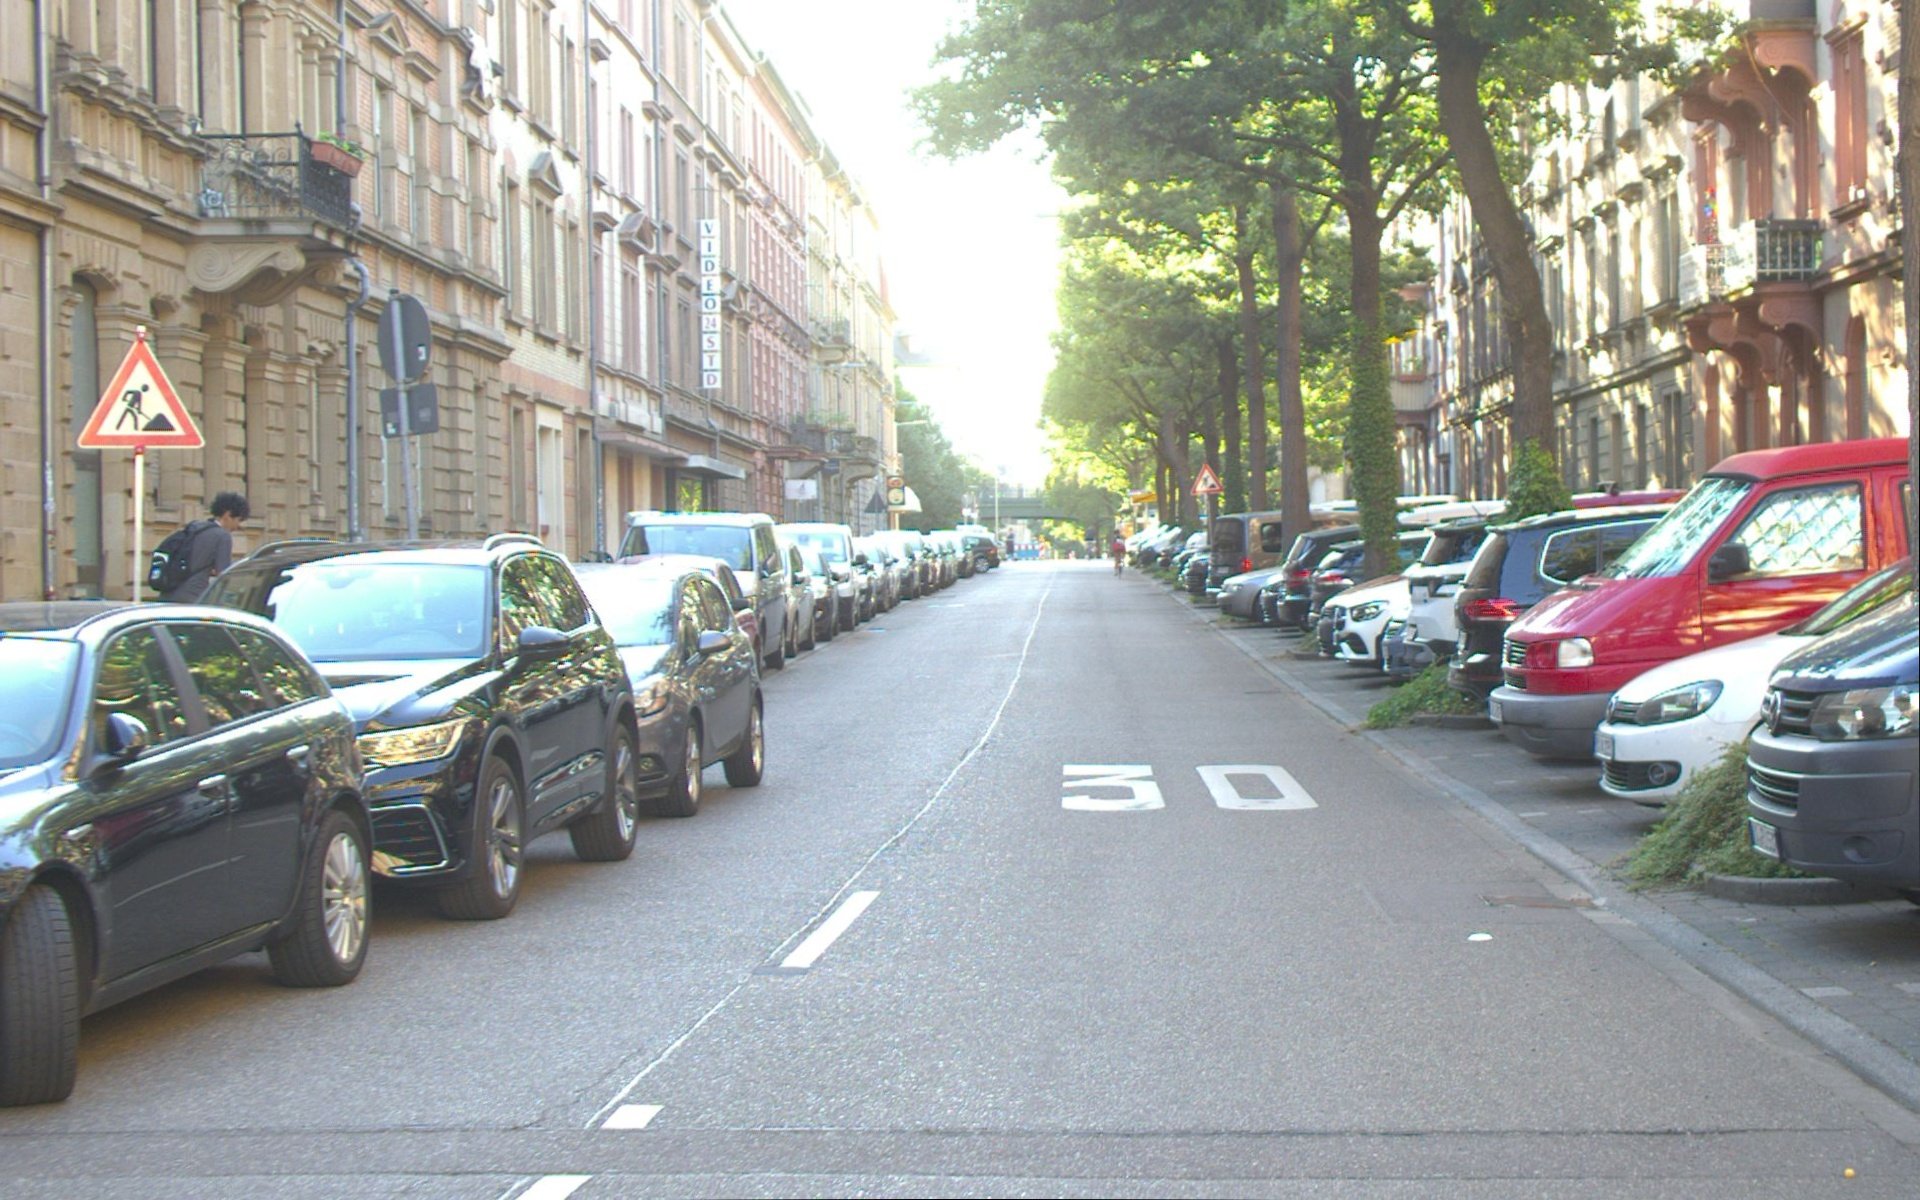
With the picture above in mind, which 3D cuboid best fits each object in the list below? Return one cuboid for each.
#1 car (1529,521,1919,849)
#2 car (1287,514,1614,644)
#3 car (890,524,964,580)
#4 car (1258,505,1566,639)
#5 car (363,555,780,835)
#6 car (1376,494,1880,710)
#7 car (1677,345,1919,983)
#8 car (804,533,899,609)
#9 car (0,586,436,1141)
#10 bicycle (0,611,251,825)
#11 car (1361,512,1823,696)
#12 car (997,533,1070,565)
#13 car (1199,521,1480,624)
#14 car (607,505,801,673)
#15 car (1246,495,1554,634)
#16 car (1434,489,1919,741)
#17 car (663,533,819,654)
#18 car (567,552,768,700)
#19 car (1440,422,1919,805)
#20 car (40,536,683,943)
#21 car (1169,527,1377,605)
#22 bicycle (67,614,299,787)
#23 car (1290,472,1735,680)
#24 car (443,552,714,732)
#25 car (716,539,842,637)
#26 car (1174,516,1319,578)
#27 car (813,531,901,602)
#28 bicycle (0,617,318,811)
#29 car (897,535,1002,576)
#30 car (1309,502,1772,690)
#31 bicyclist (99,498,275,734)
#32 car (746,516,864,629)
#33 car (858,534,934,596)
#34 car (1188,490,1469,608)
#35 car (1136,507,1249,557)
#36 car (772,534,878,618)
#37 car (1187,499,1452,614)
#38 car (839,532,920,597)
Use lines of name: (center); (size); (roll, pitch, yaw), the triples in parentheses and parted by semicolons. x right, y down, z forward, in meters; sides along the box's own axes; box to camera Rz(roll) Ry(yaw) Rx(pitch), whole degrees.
car: (5.116, 0.340, 17.607); (4.054, 1.505, 1.879); (-3, 1, 2)
car: (6.397, -0.284, 45.167); (4.010, 1.462, 1.734); (-3, 0, 2)
car: (-0.926, -1.371, 99.461); (1.993, 1.481, 4.000); (-2, -1, 1)
car: (6.240, -0.390, 47.759); (4.010, 1.601, 1.734); (-3, 0, 2)
car: (-2.308, 0.515, 21.473); (1.759, 1.496, 4.059); (-2, 1, 5)
car: (5.804, 0.007, 30.223); (4.010, 1.622, 1.805); (-3, 0, 1)
car: (5.414, 0.170, 12.888); (5.021, 2.207, 1.993); (-1, 1, 1)
car: (-2.209, -0.617, 70.898); (1.758, 1.468, 4.059); (-2, 1, 0)
car: (-3.228, 0.730, 11.228); (1.759, 1.447, 4.549); (-2, 1, 7)
bicycle: (-4.801, 0.624, 18.473); (1.867, 1.124, 0.528); (0, 0, 2)
car: (5.941, 0.026, 32.673); (4.010, 1.429, 1.794); (-4, 0, 2)
car: (4.226, -2.948, 198.444); (3.988, 1.853, 1.750); (0, 1, 10)
car: (6.093, -0.450, 55.500); (4.220, 1.398, 1.835); (-3, 1, -3)
car: (-3.095, -0.186, 42.565); (1.832, 1.936, 5.260); (0, 1, 2)
car: (6.408, -0.533, 50.401); (4.221, 1.770, 1.835); (-3, 1, 1)
car: (5.691, 0.076, 25.371); (4.187, 1.622, 1.837); (-3, 0, 5)
car: (-3.028, -0.135, 48.366); (1.753, 1.603, 4.384); (0, 1, 2)
car: (-3.086, 0.237, 36.864); (1.593, 1.470, 3.699); (1, 1, 4)
car: (5.371, 0.005, 20.348); (4.674, 2.026, 1.879); (-3, 0, -1)
car: (-2.637, 0.535, 16.321); (1.759, 1.594, 4.549); (-2, 1, 6)
car: (6.144, -0.677, 67.740); (3.850, 1.289, 1.718); (-3, 1, -1)
bicycle: (-6.104, 0.760, 27.225); (0.996, 1.154, 2.923); (-2, 2, 3)
car: (5.988, -0.293, 37.605); (4.443, 1.917, 1.850); (-4, 2, 0)
car: (-3.509, 0.345, 32.310); (1.759, 1.496, 4.059); (-2, 1, 4)
car: (-2.854, -0.224, 54.987); (1.758, 1.462, 4.000); (1, 1, 0)
car: (8.297, -1.548, 99.701); (3.849, 1.568, 1.718); (-3, 1, -6)
car: (-2.244, -0.757, 75.768); (1.758, 1.468, 4.059); (-2, 1, 0)
bicycle: (-4.806, 0.670, 20.458); (1.867, 1.124, 0.528); (0, 0, 2)
car: (-0.379, -1.668, 129.815); (1.997, 1.481, 3.992); (-2, -1, 34)
car: (5.858, -0.061, 35.049); (4.344, 1.551, 1.850); (-4, 2, 2)
bicyclist: (-6.107, 0.108, 27.220); (0.996, 1.783, 1.207); (-2, 2, 3)
car: (-2.662, -0.514, 59.936); (1.758, 1.835, 4.530); (-2, 1, 0)
car: (-1.590, -0.904, 86.773); (1.758, 1.468, 4.059); (-2, 1, 0)
car: (6.914, -0.967, 64.842); (5.057, 1.918, 1.835); (-3, 1, 2)
car: (8.231, -2.416, 122.097); (3.850, 1.568, 1.718); (-3, 1, 1)
car: (-2.516, -0.475, 64.803); (1.758, 1.468, 4.059); (-2, 1, 0)
car: (6.384, -0.775, 61.126); (4.220, 1.788, 1.835); (-4, 1, -17)
car: (-1.898, -0.867, 82.011); (1.758, 1.468, 4.059); (-2, 1, 0)
